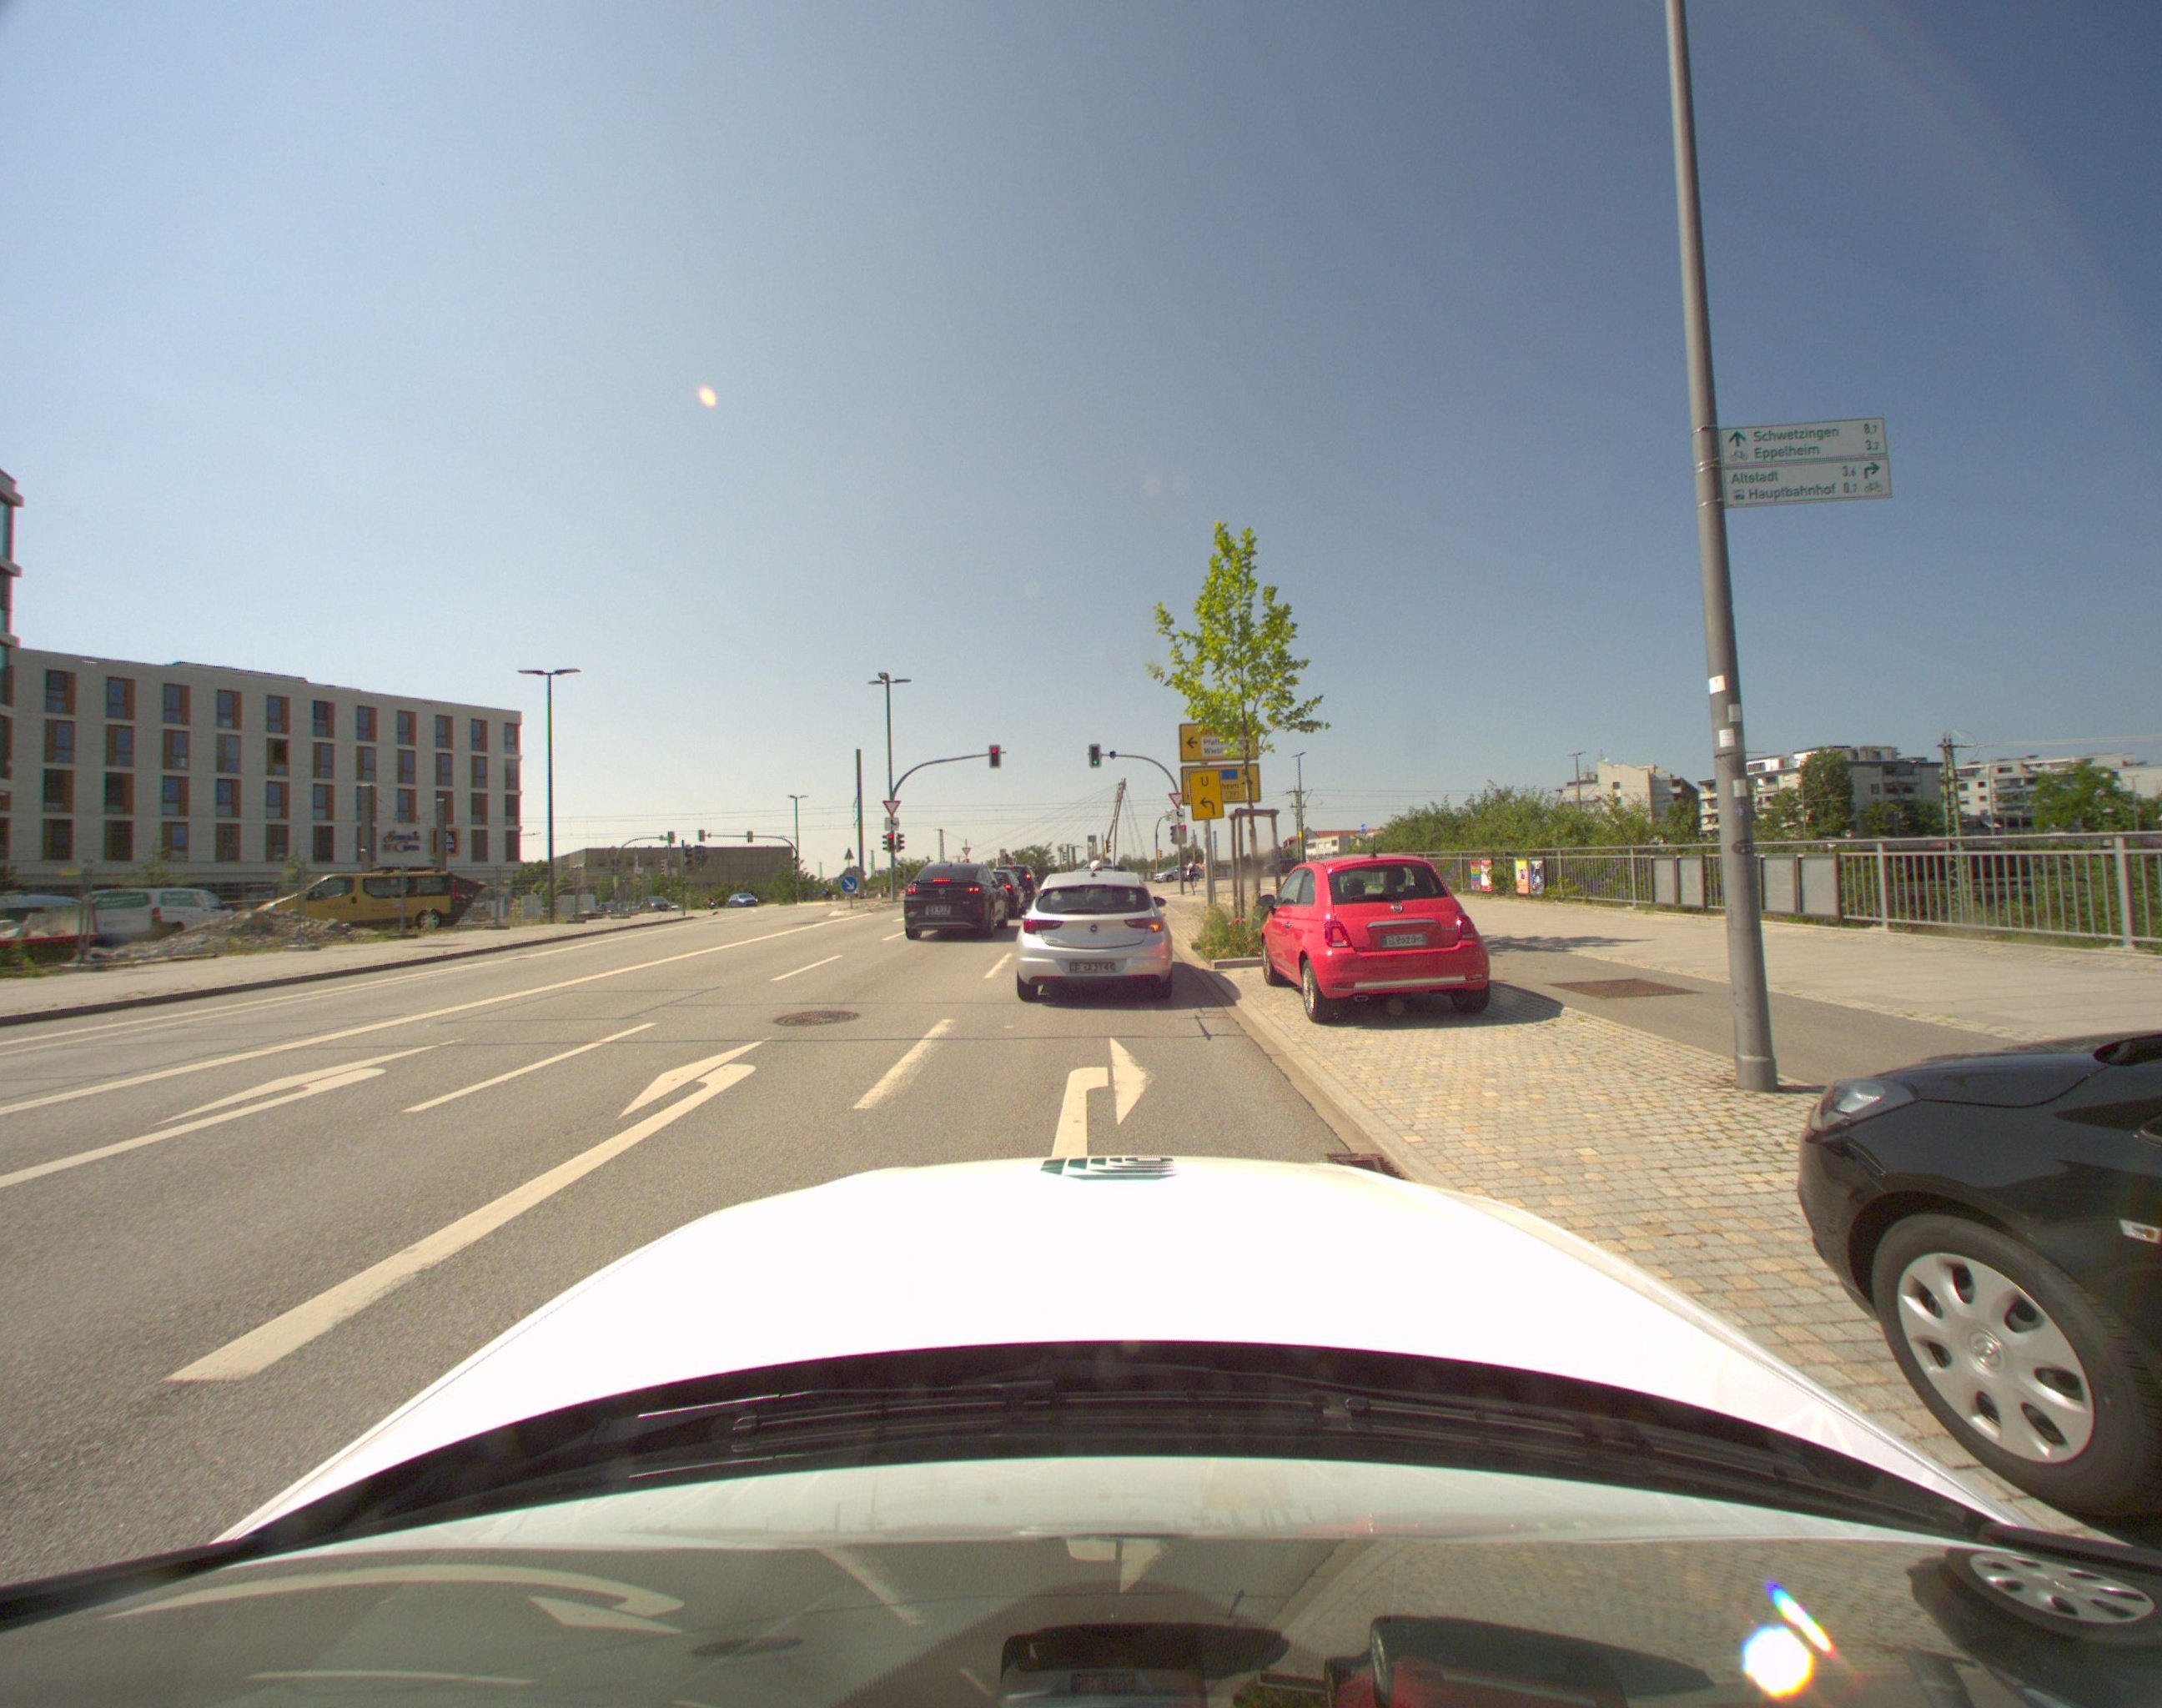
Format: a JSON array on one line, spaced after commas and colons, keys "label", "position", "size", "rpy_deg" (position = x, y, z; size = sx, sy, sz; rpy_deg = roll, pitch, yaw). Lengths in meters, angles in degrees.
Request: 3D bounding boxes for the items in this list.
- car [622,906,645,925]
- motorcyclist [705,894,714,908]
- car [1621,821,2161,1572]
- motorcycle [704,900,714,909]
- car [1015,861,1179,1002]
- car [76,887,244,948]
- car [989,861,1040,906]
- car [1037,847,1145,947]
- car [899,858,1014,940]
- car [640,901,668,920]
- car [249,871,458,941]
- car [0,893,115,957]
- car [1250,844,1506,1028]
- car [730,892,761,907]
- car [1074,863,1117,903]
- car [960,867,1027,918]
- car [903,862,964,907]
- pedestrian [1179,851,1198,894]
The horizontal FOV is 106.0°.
[{"label": "car", "position": [-43.990, 6.020, 80.070], "size": [1.578, 1.587, 3.441], "rpy_deg": [1, -2, -35]}, {"label": "motorcyclist", "position": [-38.880, 4.918, 85.143], "size": [0.756, 1.494, 0.670], "rpy_deg": [1, -2, -35]}, {"label": "car", "position": [2.856, 0.612, 1.041], "size": [1.654, 1.426, 4.000], "rpy_deg": [-3, -1, 1]}, {"label": "motorcycle", "position": [-38.844, 5.262, 85.038], "size": [0.523, 0.955, 1.913], "rpy_deg": [1, -2, -35]}, {"label": "car", "position": [0.158, 0.867, 10.671], "size": [1.737, 1.478, 3.998], "rpy_deg": [0, -1, -1]}, {"label": "car", "position": [-31.038, 2.058, 27.667], "size": [1.873, 1.774, 4.618], "rpy_deg": [0, -1, -22]}, {"label": "car", "position": [-2.481, 1.093, 30.963], "size": [1.644, 1.615, 3.819], "rpy_deg": [0, -1, 0]}, {"label": "car", "position": [0.256, 0.798, 17.183], "size": [1.986, 1.820, 4.403], "rpy_deg": [0, 0, 2]}, {"label": "car", "position": [-2.688, 0.921, 18.573], "size": [1.795, 1.641, 4.368], "rpy_deg": [0, 0, 2]}, {"label": "car", "position": [-38.565, 5.102, 73.568], "size": [1.686, 1.476, 3.368], "rpy_deg": [-1, -1, -37]}, {"label": "car", "position": [-22.638, 1.535, 25.515], "size": [1.964, 1.963, 4.655], "rpy_deg": [-2, -2, 41]}, {"label": "car", "position": [-33.646, 2.228, 26.247], "size": [1.794, 1.857, 3.817], "rpy_deg": [0, -1, -26]}, {"label": "car", "position": [2.923, 0.730, 8.751], "size": [1.603, 1.496, 3.355], "rpy_deg": [-4, -1, 3]}, {"label": "car", "position": [-32.936, 4.465, 79.951], "size": [1.831, 1.331, 3.954], "rpy_deg": [1, -3, -38]}, {"label": "car", "position": [0.655, 1.169, 34.652], "size": [1.717, 1.564, 4.002], "rpy_deg": [0, 0, 2]}, {"label": "car", "position": [-2.598, 1.131, 24.840], "size": [1.569, 1.434, 3.786], "rpy_deg": [0, -1, 1]}, {"label": "car", "position": [-5.398, 1.106, 30.188], "size": [1.592, 1.547, 3.761], "rpy_deg": [0, -1, 0]}, {"label": "pedestrian", "position": [4.801, 0.822, 36.317], "size": [0.645, 1.836, 0.797], "rpy_deg": [-3, -2, 0]}]
